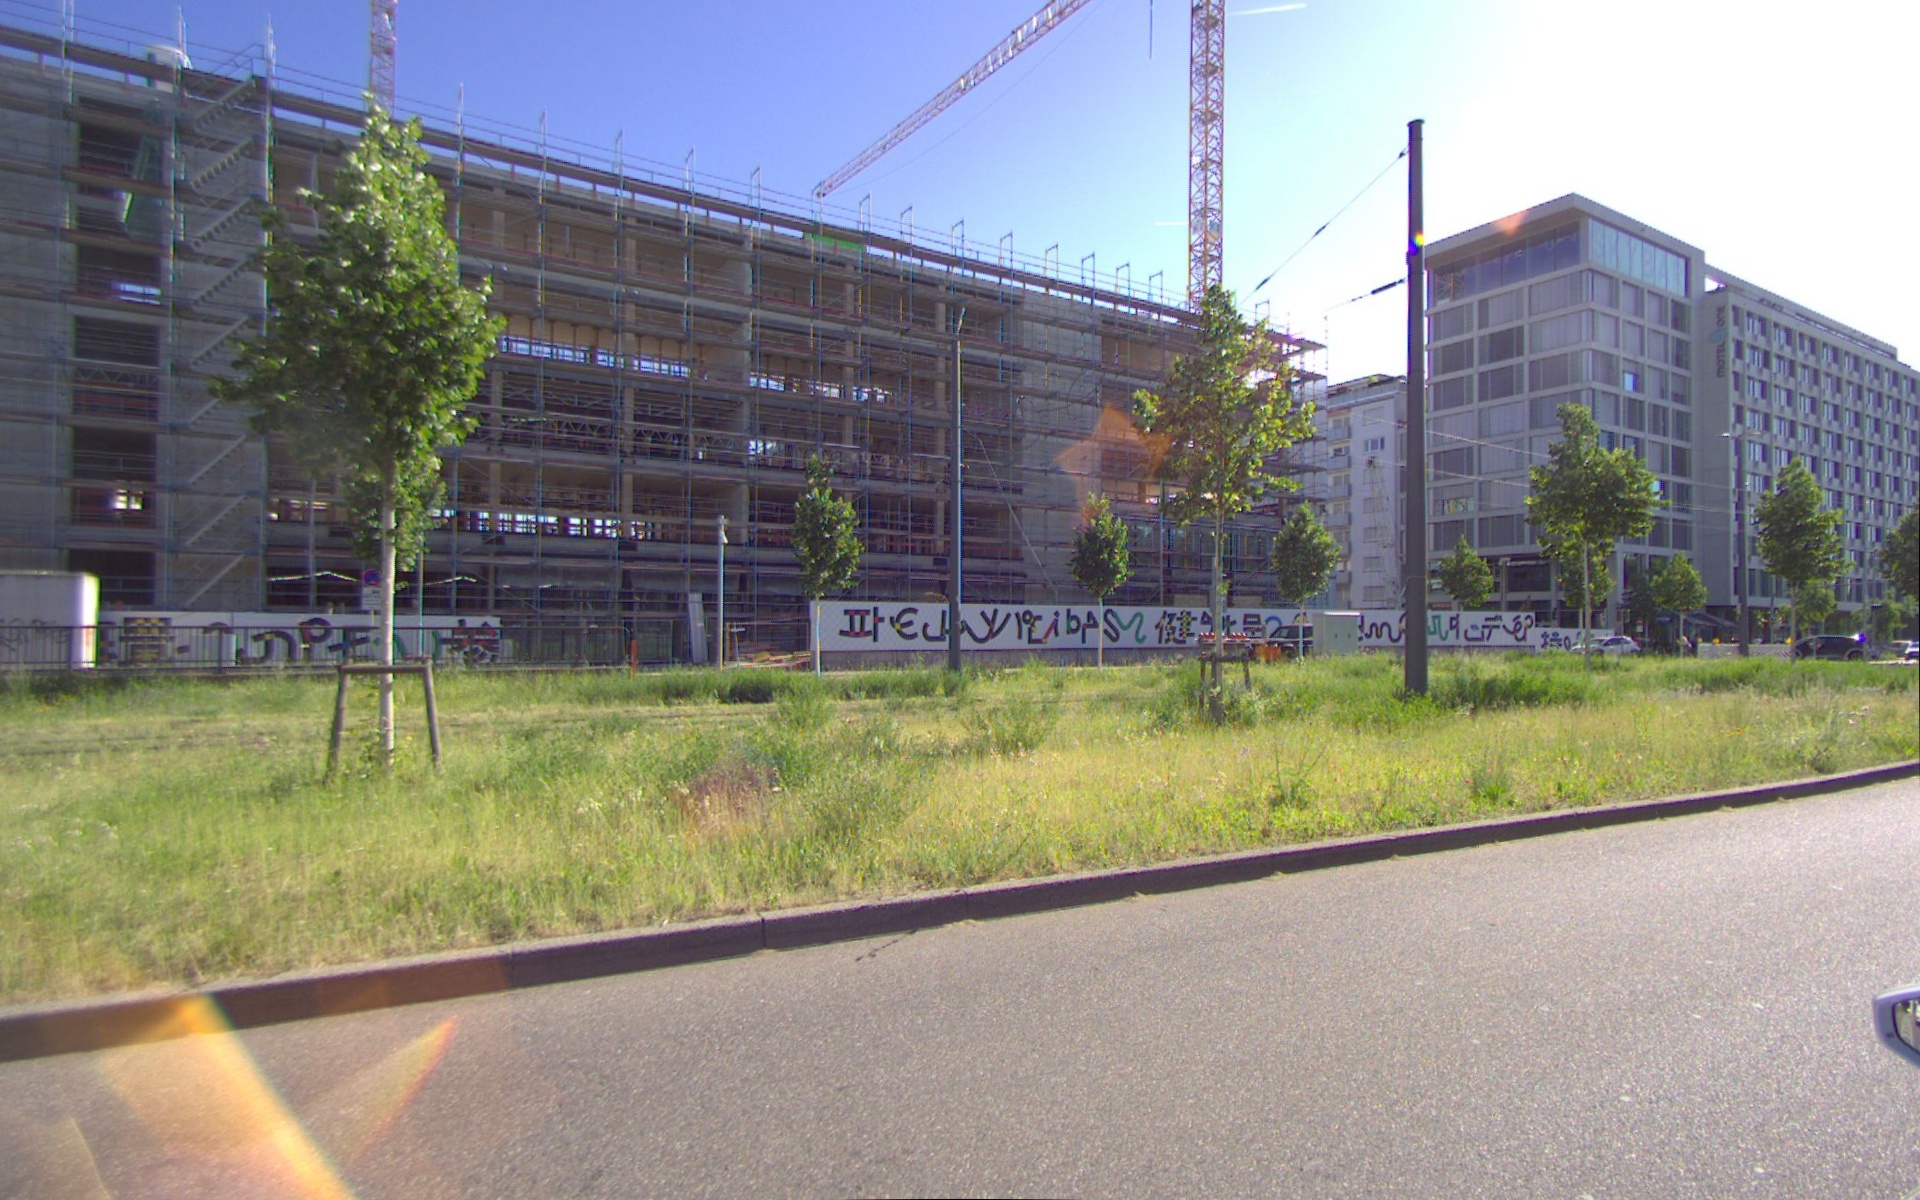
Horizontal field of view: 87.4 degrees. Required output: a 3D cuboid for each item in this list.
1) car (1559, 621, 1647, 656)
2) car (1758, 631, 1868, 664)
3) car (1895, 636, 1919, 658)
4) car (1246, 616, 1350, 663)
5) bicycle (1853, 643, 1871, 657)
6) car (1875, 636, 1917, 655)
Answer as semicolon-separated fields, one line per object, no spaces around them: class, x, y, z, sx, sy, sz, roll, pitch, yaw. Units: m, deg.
car;37.048;2.203;57.929;3.911;1.943;1.914;1;-1;-6
car;49.005;2.683;57.825;4.441;1.816;1.999;0;-2;24
car;75.271;3.684;78.823;3.955;1.672;1.781;1;-2;-31
car;14.710;1.712;43.677;4.275;1.943;1.901;1;-2;-28
bicycle;76.715;4.254;85.419;1.602;1.115;0.584;2;0;-28
car;84.292;4.089;90.409;3.955;1.672;1.781;1;-2;-31
